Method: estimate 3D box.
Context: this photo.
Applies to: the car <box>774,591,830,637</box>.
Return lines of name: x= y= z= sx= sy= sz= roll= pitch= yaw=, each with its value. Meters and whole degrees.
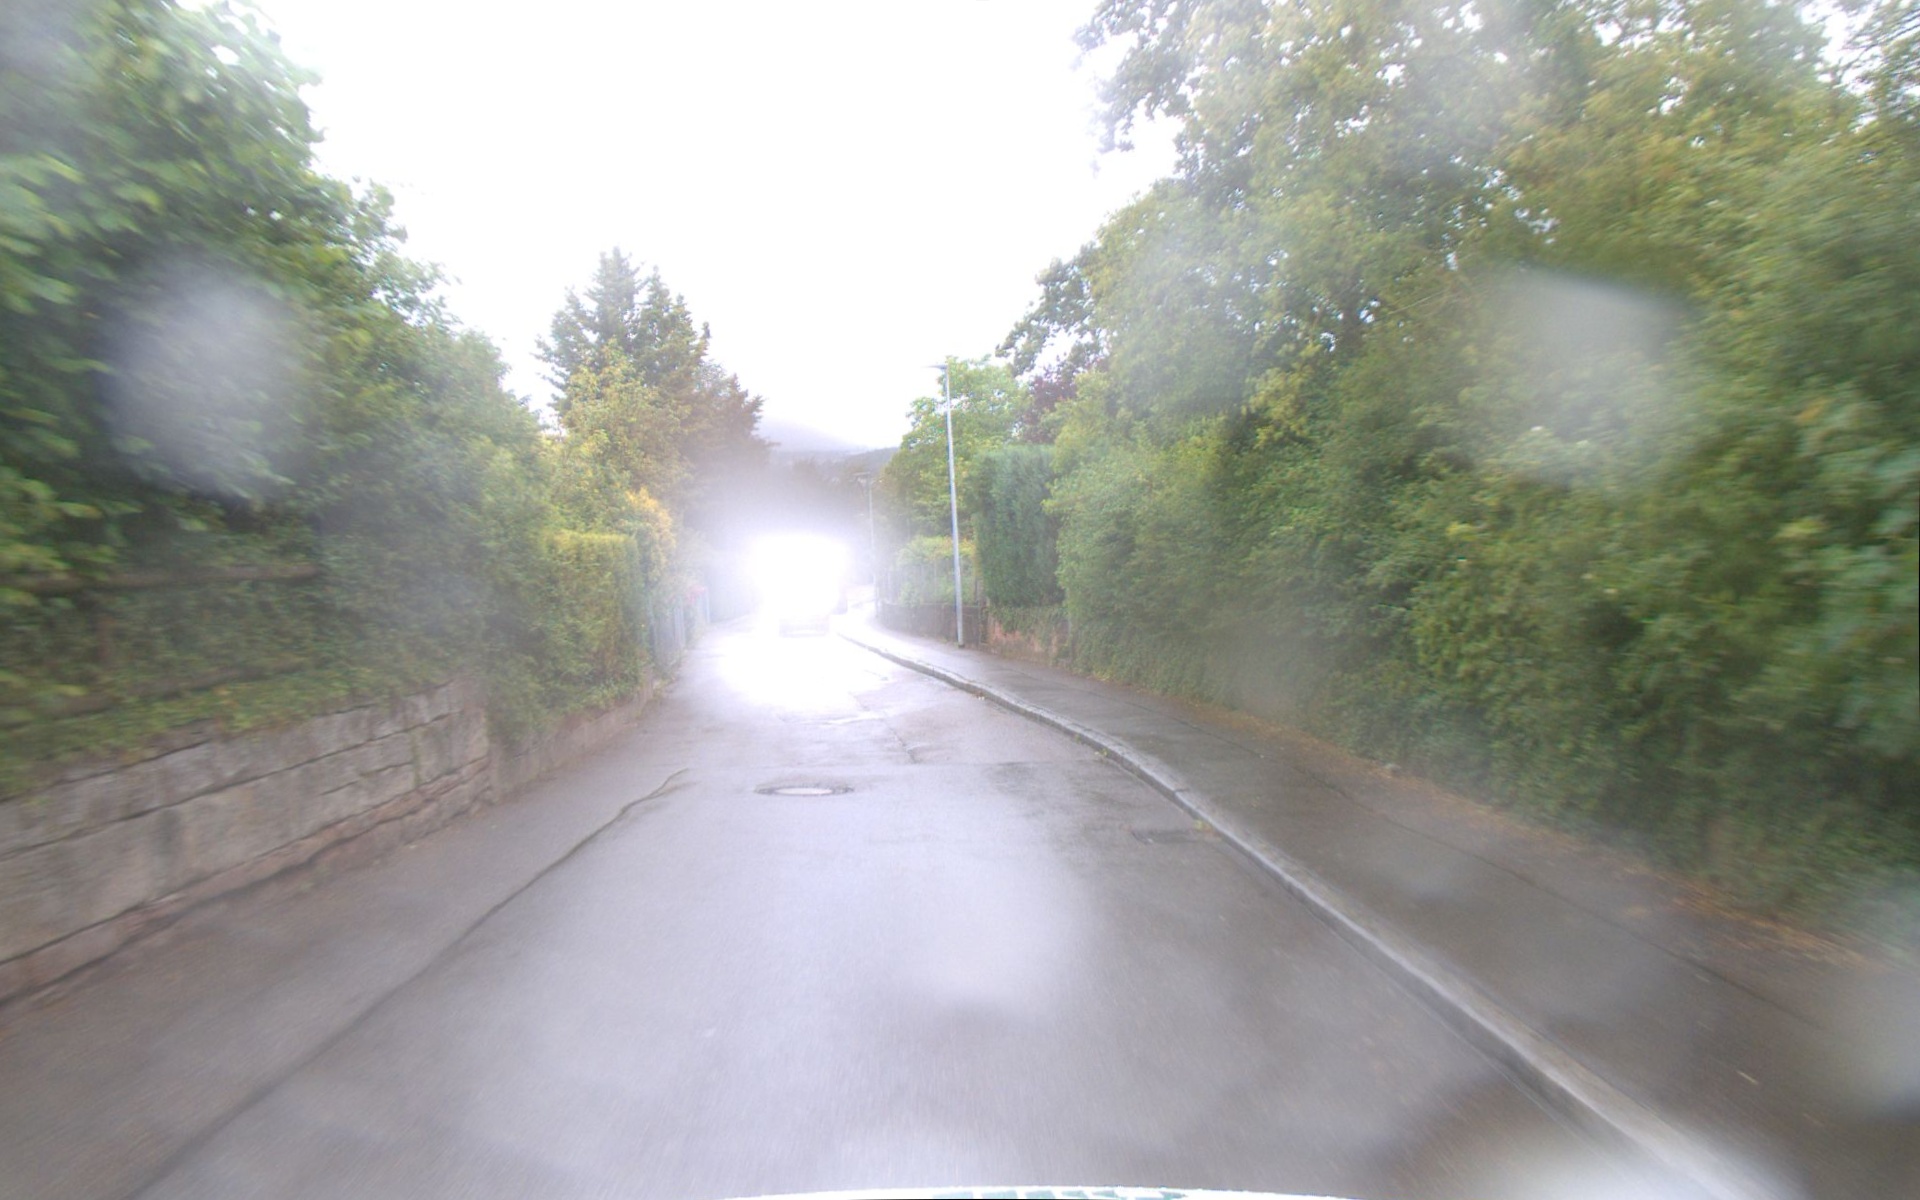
car: x=-5.396 y=0.456 z=56.369 sx=1.800 sy=1.489 sz=3.995 roll=-1 pitch=0 yaw=-6

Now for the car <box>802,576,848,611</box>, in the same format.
car: x=-6.775 y=-0.339 z=83.303 sx=1.642 sy=1.592 sz=3.797 roll=-1 pitch=2 yaw=5
